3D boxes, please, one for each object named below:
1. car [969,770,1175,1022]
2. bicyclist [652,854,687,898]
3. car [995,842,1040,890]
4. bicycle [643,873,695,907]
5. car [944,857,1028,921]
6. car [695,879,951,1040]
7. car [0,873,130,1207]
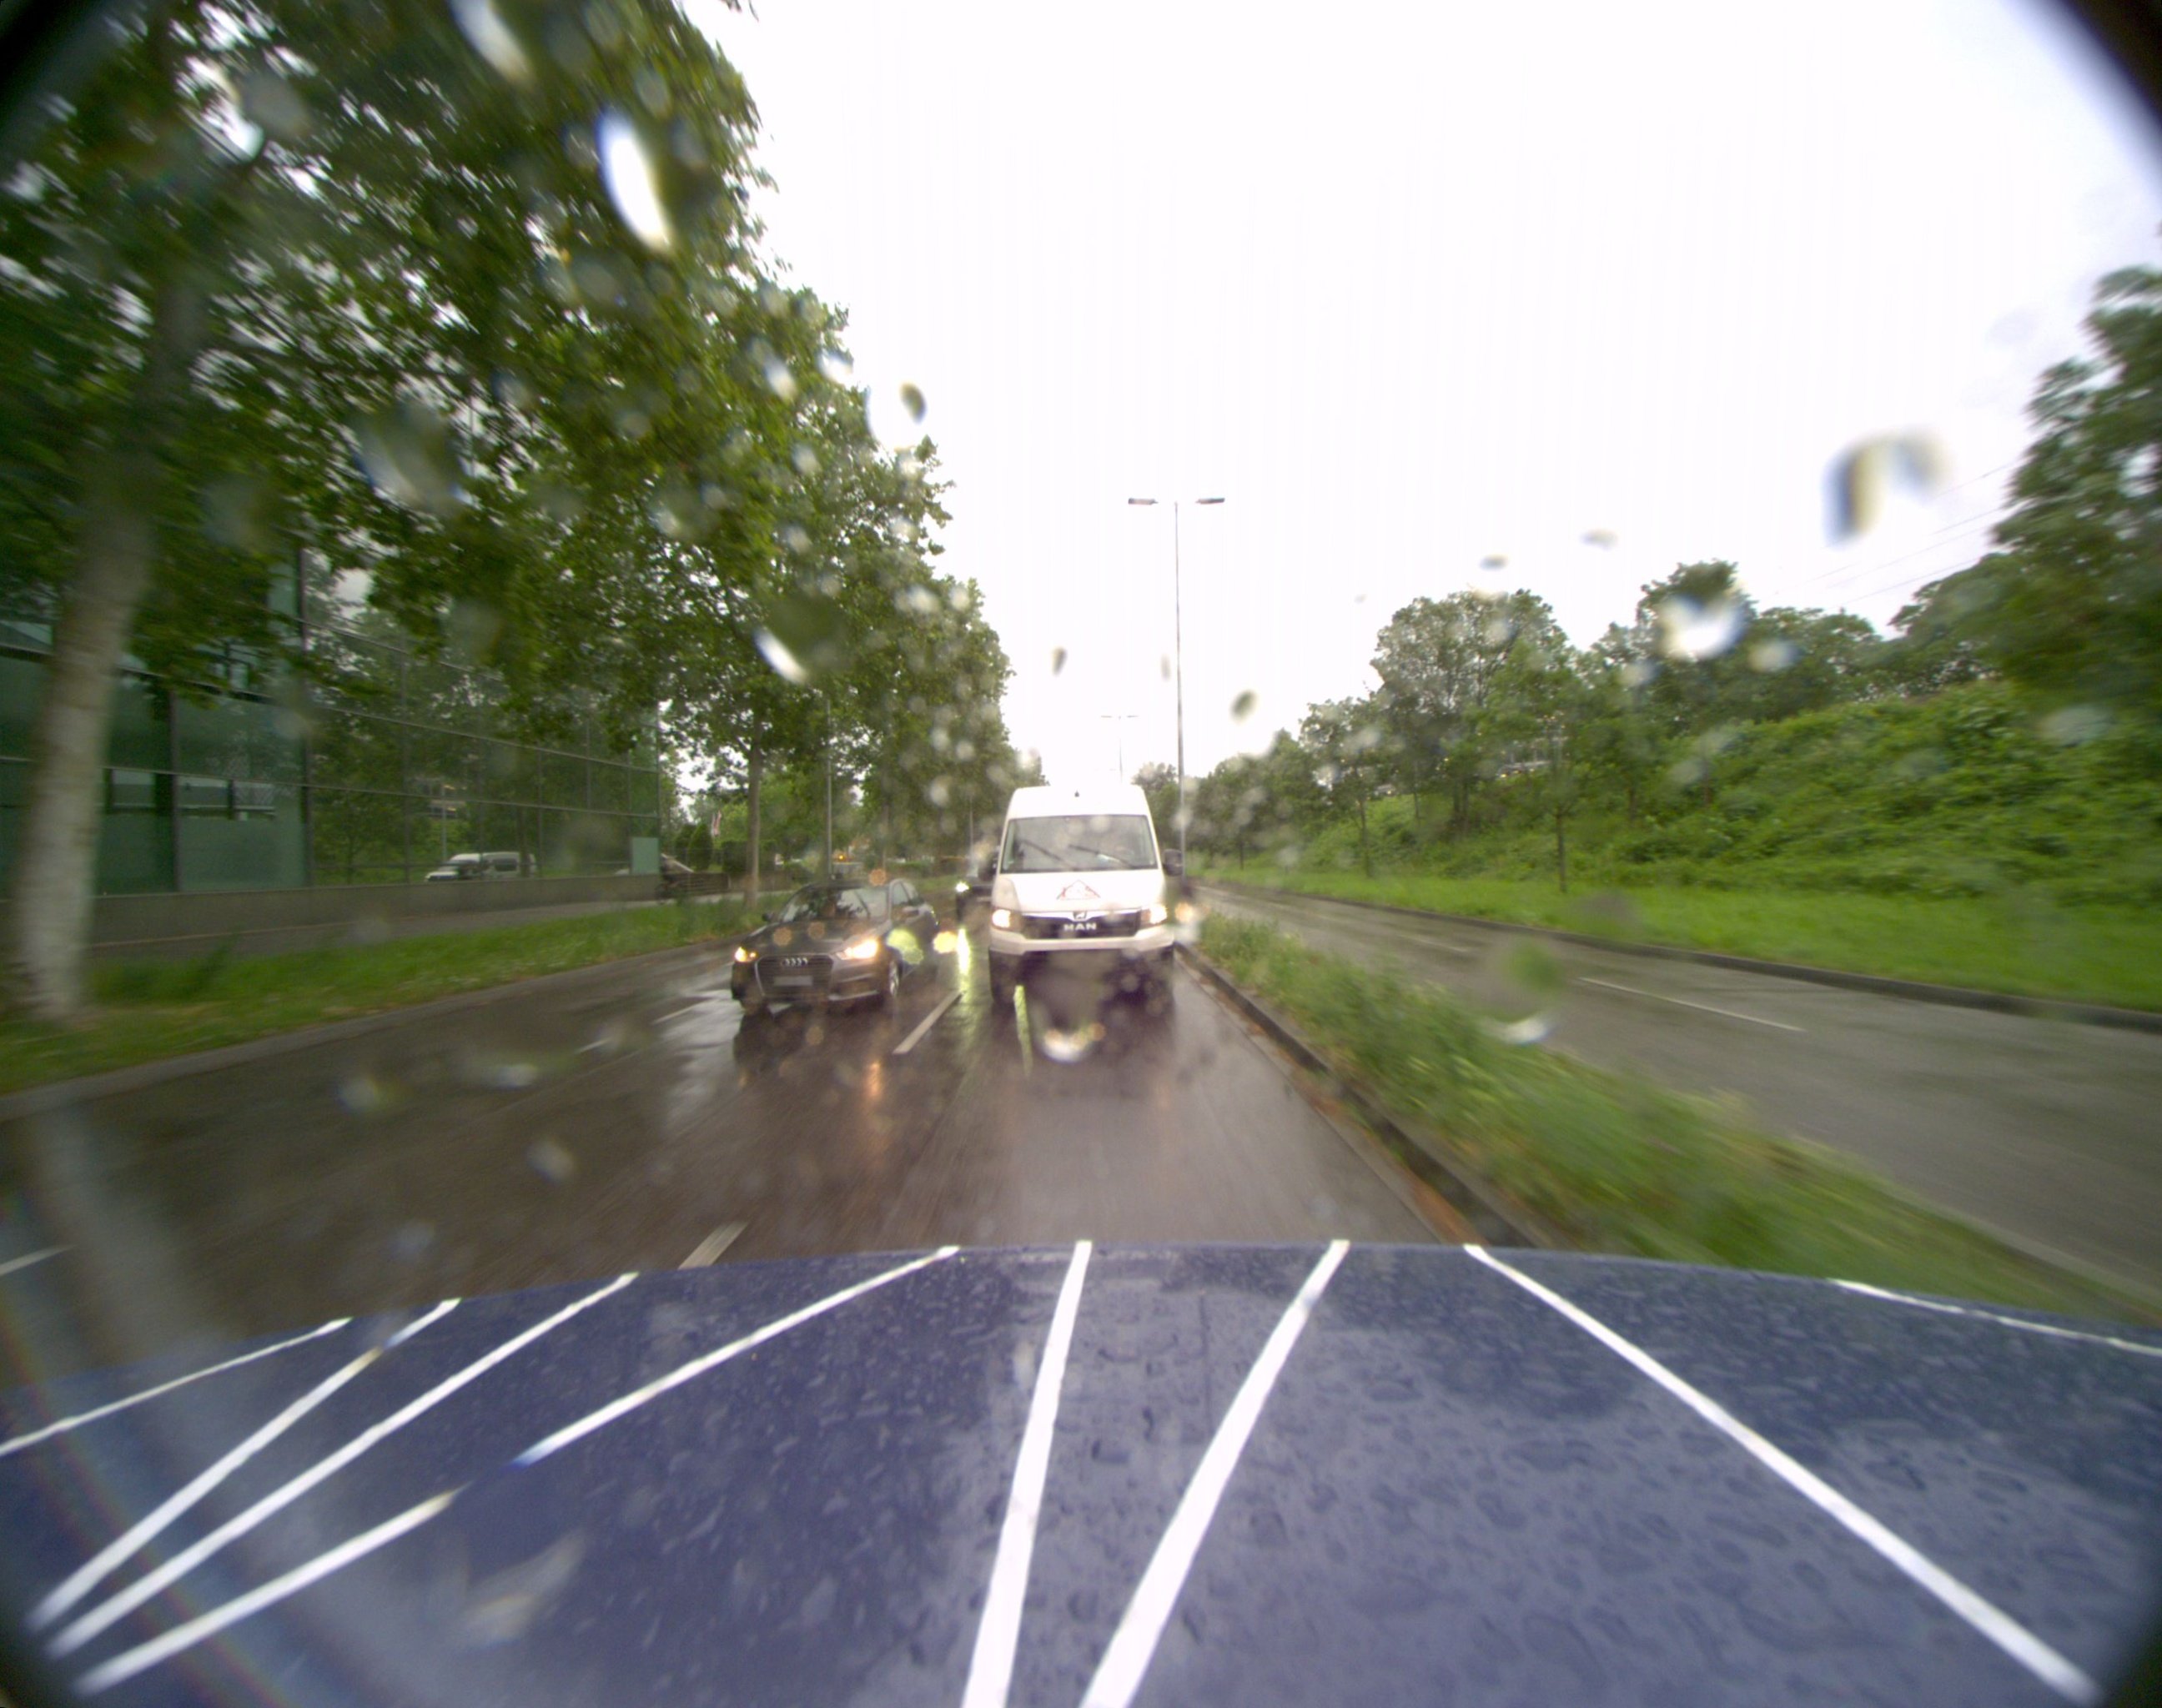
[{"bbox_3d":[-0.012,0.398,10.332,1.968,2.419,5.961,-1,0,1],"label":"car"},{"bbox_3d":[-14.644,0.776,27.066,0.807,1.506,0.752,2,1,-2],"label":"bicyclist"},{"bbox_3d":[-3.423,0.613,41.777,1.998,2.416,4.977,-1,0,0],"label":"car"},{"bbox_3d":[-14.656,1.254,27.094,0.745,1.098,2.076,1,0,-2],"label":"bicycle"},{"bbox_3d":[-2.801,0.972,23.366,1.998,1.738,4.327,-1,0,0],"label":"car"},{"bbox_3d":[-2.883,1.112,9.433,1.841,1.390,3.753,-2,0,0],"label":"car"},{"bbox_3d":[-6.281,0.936,2.143,1.905,1.622,4.170,-1,0,1],"label":"car"}]
